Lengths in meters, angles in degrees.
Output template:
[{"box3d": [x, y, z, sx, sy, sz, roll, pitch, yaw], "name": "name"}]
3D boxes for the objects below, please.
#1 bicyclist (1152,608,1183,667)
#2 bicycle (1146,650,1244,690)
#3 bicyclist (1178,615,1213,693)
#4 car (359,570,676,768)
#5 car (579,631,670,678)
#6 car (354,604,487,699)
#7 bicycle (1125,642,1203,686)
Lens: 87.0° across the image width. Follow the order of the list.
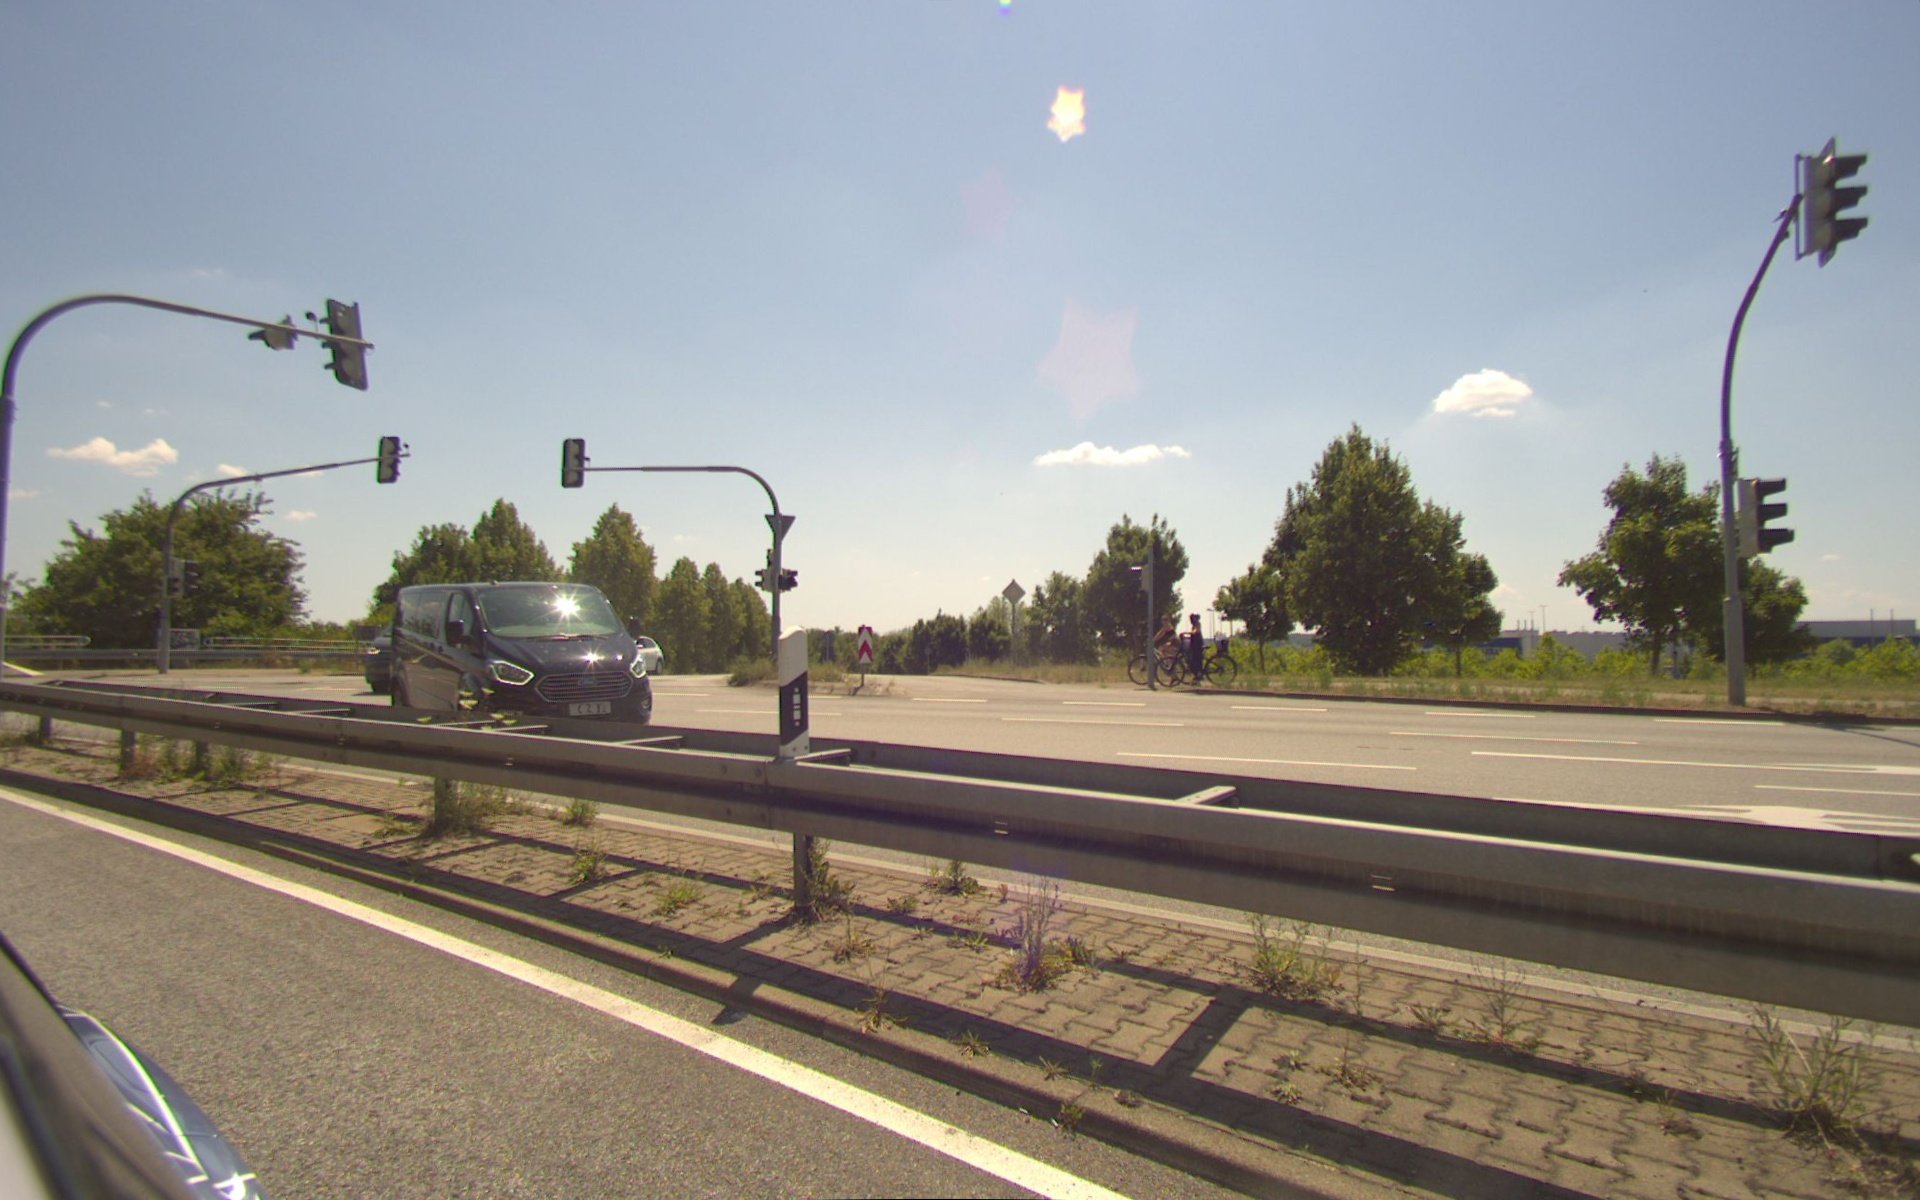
[{"box3d": [5.073, 0.915, 24.752, 0.679, 1.415, 0.406, 0, -1, 19], "name": "bicyclist"}, {"box3d": [5.343, 1.578, 23.015, 2.110, 0.859, 0.532, -1, -1, 19], "name": "bicycle"}, {"box3d": [5.360, 1.213, 23.017, 0.725, 1.731, 0.528, -1, -1, 19], "name": "bicyclist"}, {"box3d": [-5.758, 0.737, 12.690, 2.093, 1.952, 5.418, 1, -2, -41], "name": "car"}, {"box3d": [-11.988, 1.915, 36.449, 1.772, 1.540, 3.995, -1, -2, 4], "name": "car"}, {"box3d": [-12.223, 1.195, 23.244, 1.911, 1.934, 4.547, 2, -3, -19], "name": "car"}, {"box3d": [4.985, 1.556, 24.777, 1.818, 1.032, 0.412, -1, -1, 20], "name": "bicycle"}]
